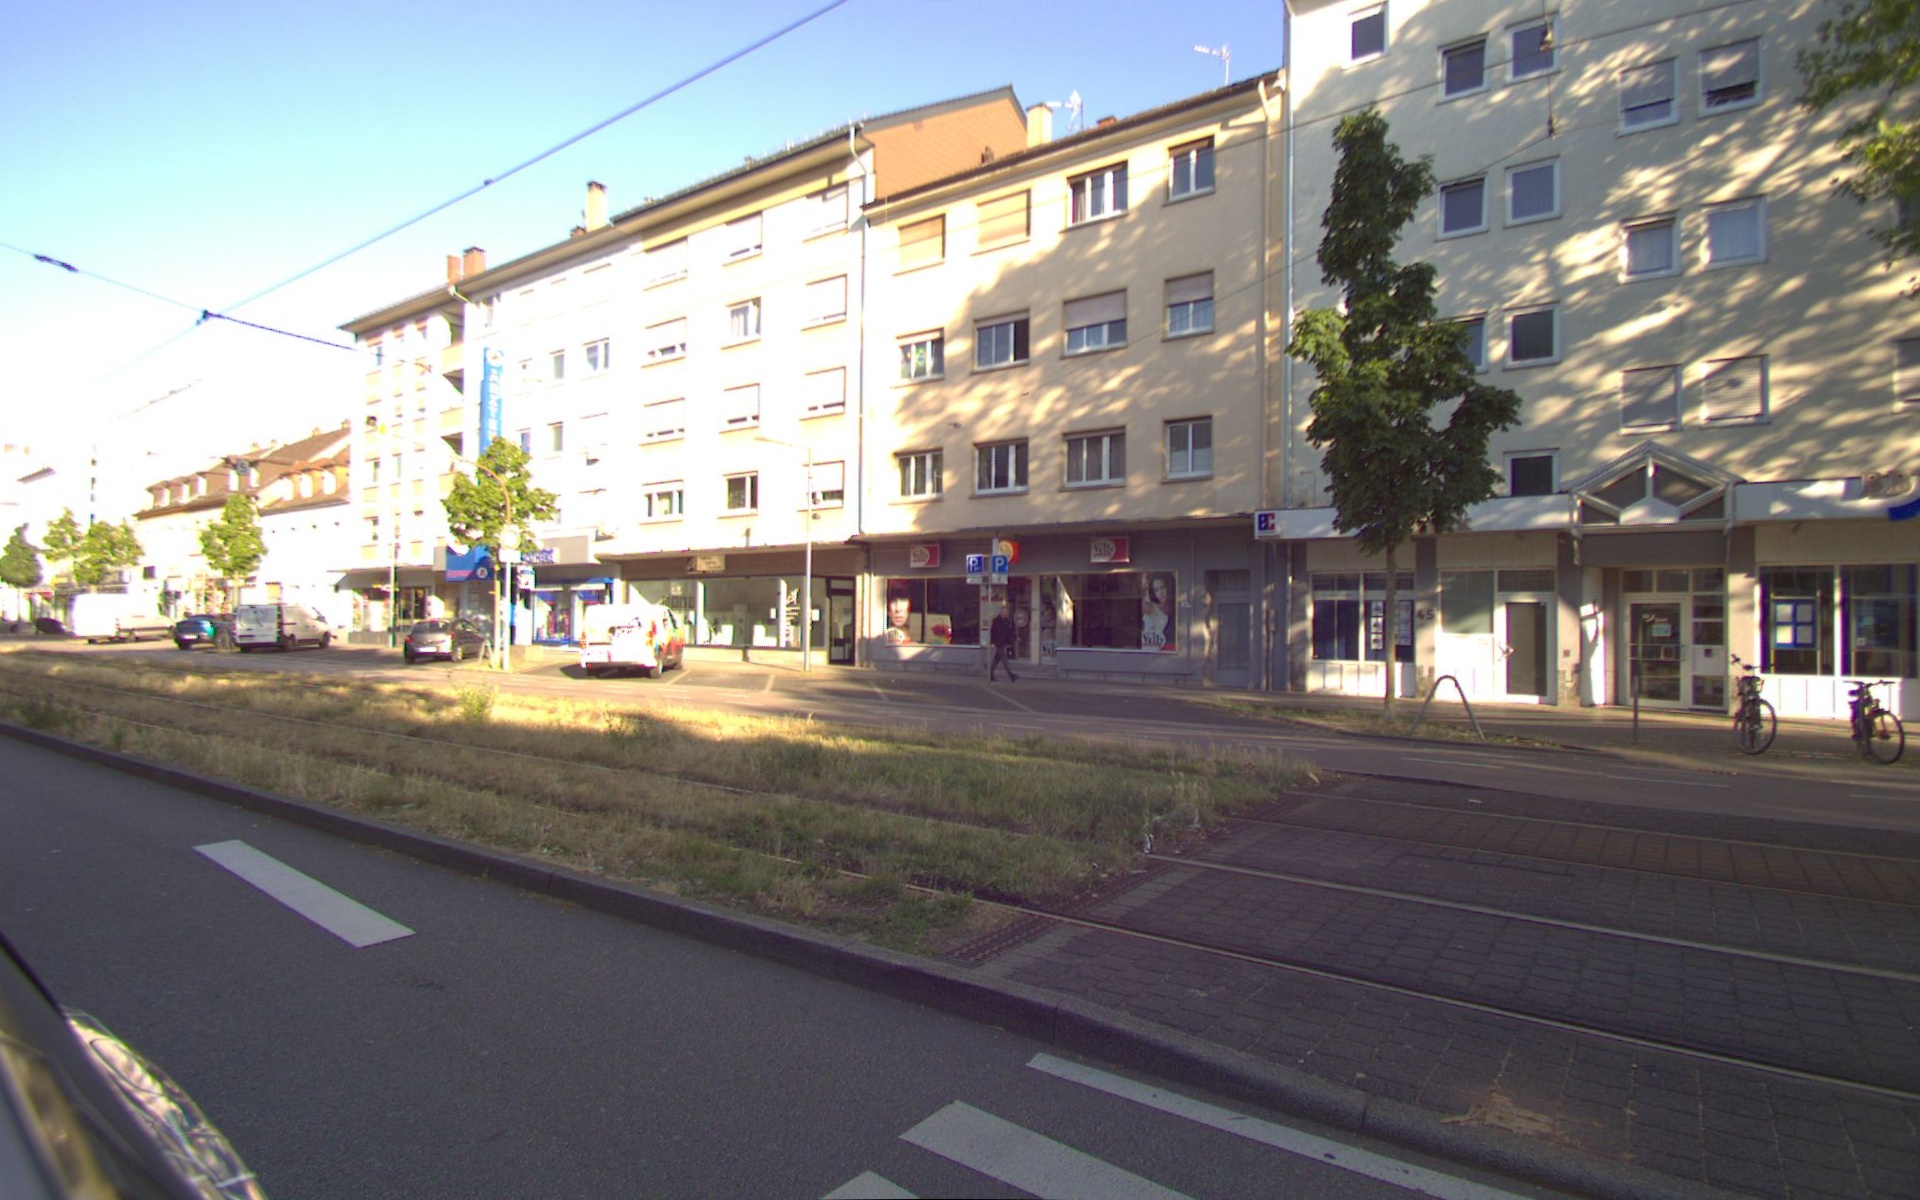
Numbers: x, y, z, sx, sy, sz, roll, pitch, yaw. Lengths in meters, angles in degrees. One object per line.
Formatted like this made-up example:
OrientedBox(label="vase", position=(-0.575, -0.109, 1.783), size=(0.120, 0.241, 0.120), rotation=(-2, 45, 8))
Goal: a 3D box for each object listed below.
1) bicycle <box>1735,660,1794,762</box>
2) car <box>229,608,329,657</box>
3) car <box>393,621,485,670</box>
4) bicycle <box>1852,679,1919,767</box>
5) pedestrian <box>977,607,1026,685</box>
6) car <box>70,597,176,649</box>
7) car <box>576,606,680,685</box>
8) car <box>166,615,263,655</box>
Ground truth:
OrientedBox(label="bicycle", position=(10.296, 1.377, 12.985), size=(0.511, 1.147, 1.724), rotation=(-1, -1, 36))
OrientedBox(label="car", position=(-28.643, 1.297, 42.738), size=(1.828, 1.952, 4.514), rotation=(0, 0, -10))
OrientedBox(label="car", position=(-17.577, 1.489, 34.330), size=(1.708, 1.508, 4.009), rotation=(0, 0, -10))
OrientedBox(label="bicycle", position=(11.402, 1.480, 12.461), size=(0.471, 0.895, 1.724), rotation=(-1, -1, 36))
OrientedBox(label="pedestrian", position=(1.011, 1.085, 24.386), size=(0.916, 1.841, 0.747), rotation=(-1, -1, 41))
OrientedBox(label="car", position=(-45.338, 1.208, 55.038), size=(1.895, 2.634, 6.608), rotation=(0, 0, -16))
OrientedBox(label="car", position=(-8.784, 1.142, 27.113), size=(1.830, 1.913, 4.005), rotation=(0, 0, -6))
OrientedBox(label="car", position=(-34.174, 1.550, 46.533), size=(1.830, 1.727, 3.919), rotation=(0, 0, -4))
